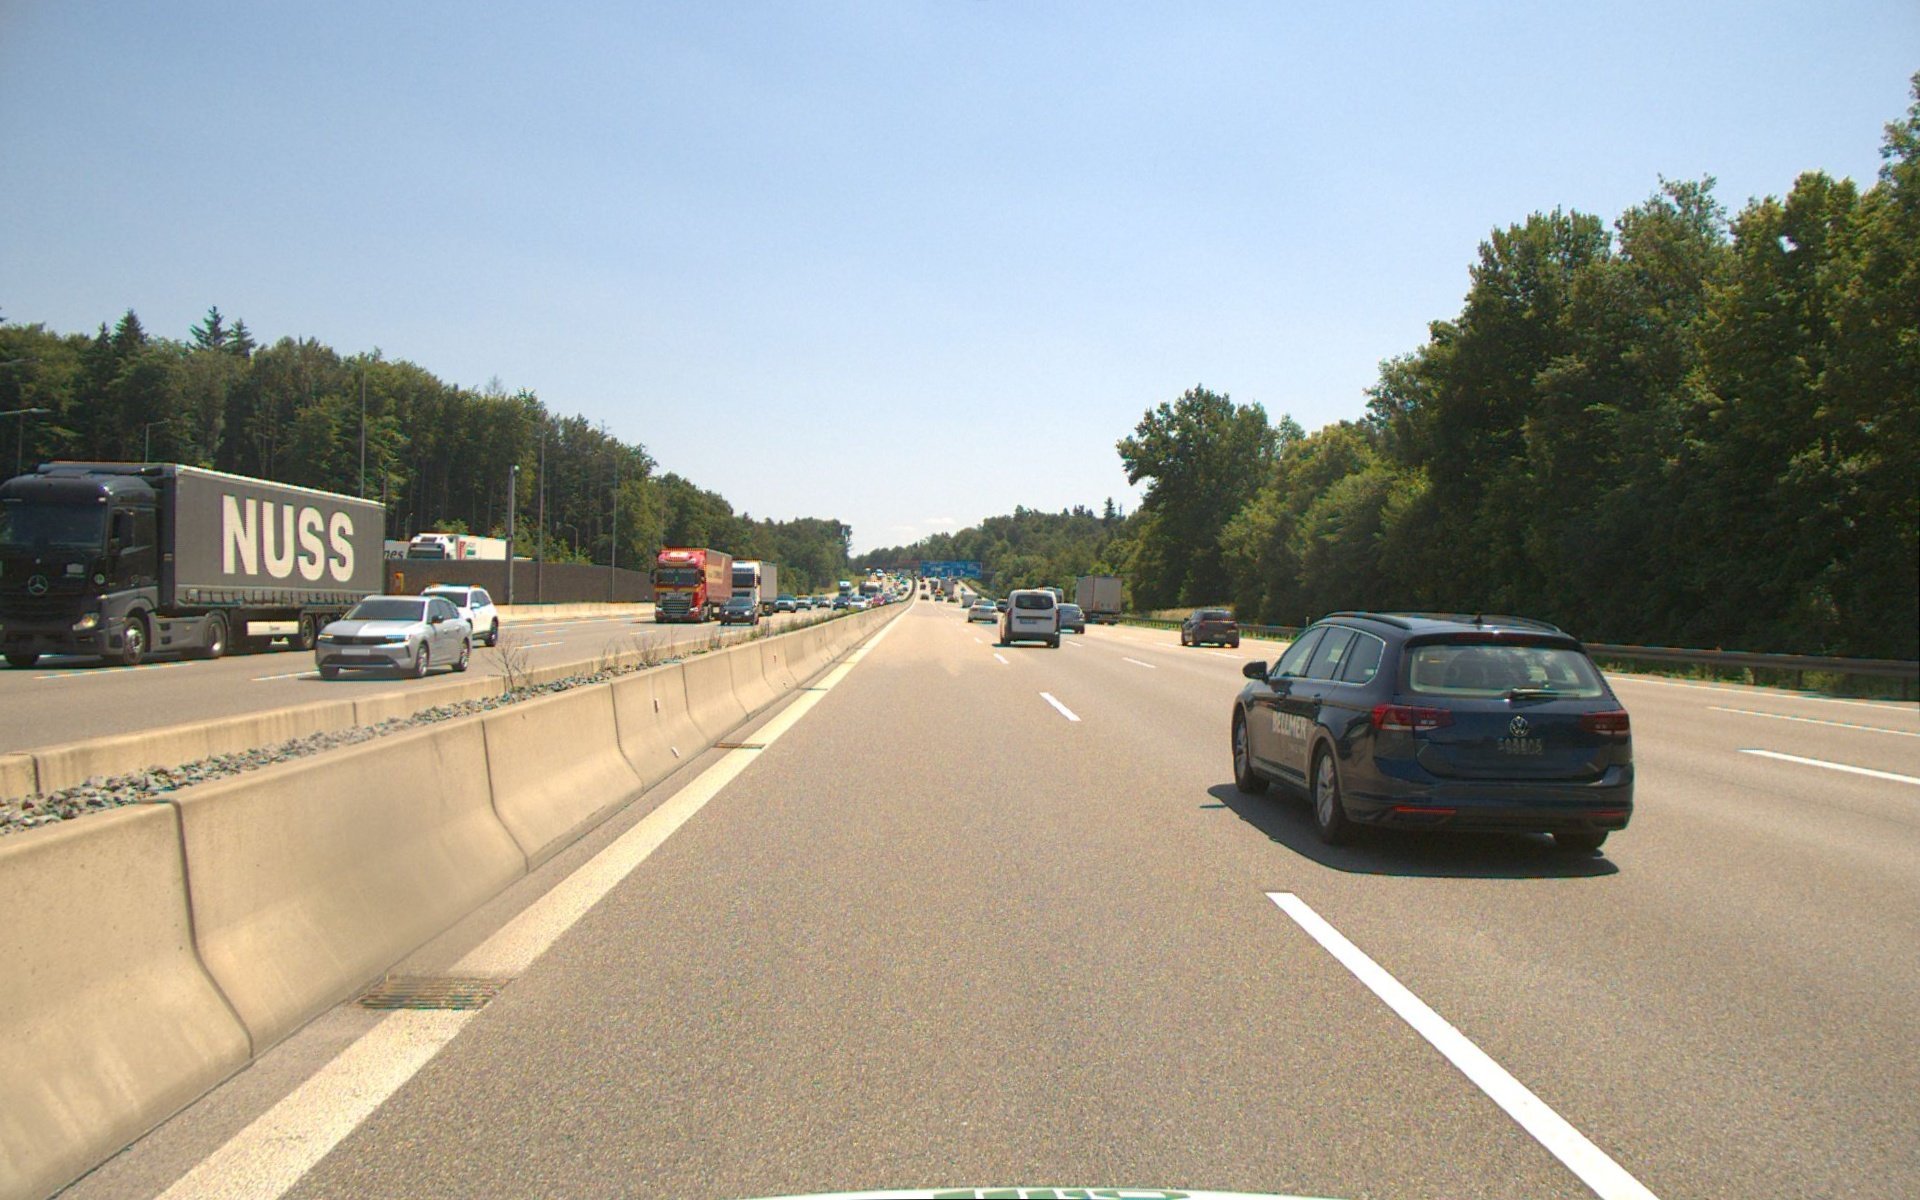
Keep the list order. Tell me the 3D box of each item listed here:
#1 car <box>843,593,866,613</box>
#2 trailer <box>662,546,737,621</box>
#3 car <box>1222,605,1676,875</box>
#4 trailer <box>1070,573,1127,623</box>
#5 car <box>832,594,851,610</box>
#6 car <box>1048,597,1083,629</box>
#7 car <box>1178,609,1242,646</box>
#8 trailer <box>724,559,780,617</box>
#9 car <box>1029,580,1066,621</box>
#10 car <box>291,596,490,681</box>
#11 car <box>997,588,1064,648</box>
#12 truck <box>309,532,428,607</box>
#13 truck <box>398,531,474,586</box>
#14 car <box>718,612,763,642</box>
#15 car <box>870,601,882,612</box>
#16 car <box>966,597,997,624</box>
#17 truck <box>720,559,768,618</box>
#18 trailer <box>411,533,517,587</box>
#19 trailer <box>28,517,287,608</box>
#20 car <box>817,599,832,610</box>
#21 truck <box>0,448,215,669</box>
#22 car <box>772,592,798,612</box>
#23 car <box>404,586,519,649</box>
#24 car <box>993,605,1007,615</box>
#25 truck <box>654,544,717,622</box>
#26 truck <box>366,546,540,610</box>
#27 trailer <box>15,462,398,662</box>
[{"bbox_3d":[-10.251,0.294,160.929,1.953,1.805,5.037,1,0,-1],"label":"car"},{"bbox_3d":[-15.429,-0.946,99.032,2.519,4.120,14.177,1,0,-1],"label":"trailer"},{"bbox_3d":[3.129,0.794,11.728,1.694,1.472,4.960,0,0,-1],"label":"car"},{"bbox_3d":[12.181,-0.278,147.219,3.222,3.998,13.886,3,1,-2],"label":"trailer"},{"bbox_3d":[-14.055,0.211,195.940,1.953,1.805,5.922,1,0,-1],"label":"car"},{"bbox_3d":[5.234,0.643,82.368,1.473,1.527,3.649,1,0,0],"label":"car"},{"bbox_3d":[9.459,1.024,62.863,1.637,1.296,4.288,3,0,-2],"label":"car"},{"bbox_3d":[-15.803,-0.872,126.658,2.698,4.071,14.463,1,0,-1],"label":"trailer"},{"bbox_3d":[6.125,-0.018,116.233,2.100,2.698,5.708,2,1,-1],"label":"car"},{"bbox_3d":[-10.305,0.663,30.388,1.953,1.401,5.009,1,0,-1],"label":"car"},{"bbox_3d":[2.274,0.561,54.166,1.822,1.858,4.610,1,0,-2],"label":"car"},{"bbox_3d":[-47.207,-2.358,132.219,3.172,5.711,8.434,1,0,43],"label":"truck"},{"bbox_3d":[-32.633,-2.524,103.224,2.867,3.178,6.200,1,0,-2],"label":"truck"},{"bbox_3d":[-11.332,1.374,85.635,1.784,1.411,4.314,1,0,-1],"label":"car"},{"bbox_3d":[-12.205,0.890,240.519,1.695,1.540,5.043,1,0,-1],"label":"car"},{"bbox_3d":[1.352,0.673,106.546,1.806,1.657,4.552,1,0,-2],"label":"car"},{"bbox_3d":[-15.630,-0.811,120.224,2.679,4.102,6.779,1,0,-1],"label":"truck"},{"bbox_3d":[-32.874,-2.552,110.414,2.912,3.178,14.605,1,0,-1],"label":"trailer"},{"bbox_3d":[-49.961,-2.203,103.650,3.075,5.161,14.472,1,0,43],"label":"trailer"},{"bbox_3d":[-18.700,0.615,228.325,1.695,1.540,4.169,1,0,-1],"label":"car"},{"bbox_3d":[-17.665,-0.771,32.889,3.221,3.999,5.537,1,0,-2],"label":"truck"},{"bbox_3d":[-16.676,0.200,157.746,1.953,1.805,5.037,1,0,-1],"label":"car"},{"bbox_3d":[-14.115,0.480,47.138,1.953,1.699,4.611,1,0,-1],"label":"car"},{"bbox_3d":[5.631,1.436,231.531,1.798,1.361,3.642,1,0,-2],"label":"car"},{"bbox_3d":[-15.236,-0.915,92.077,2.476,4.120,6.470,1,0,-1],"label":"truck"},{"bbox_3d":[-49.002,-2.051,160.703,3.391,5.711,16.600,1,0,43],"label":"truck"},{"bbox_3d":[-17.903,-0.782,41.142,3.274,4.071,14.274,1,0,-1],"label":"trailer"}]
